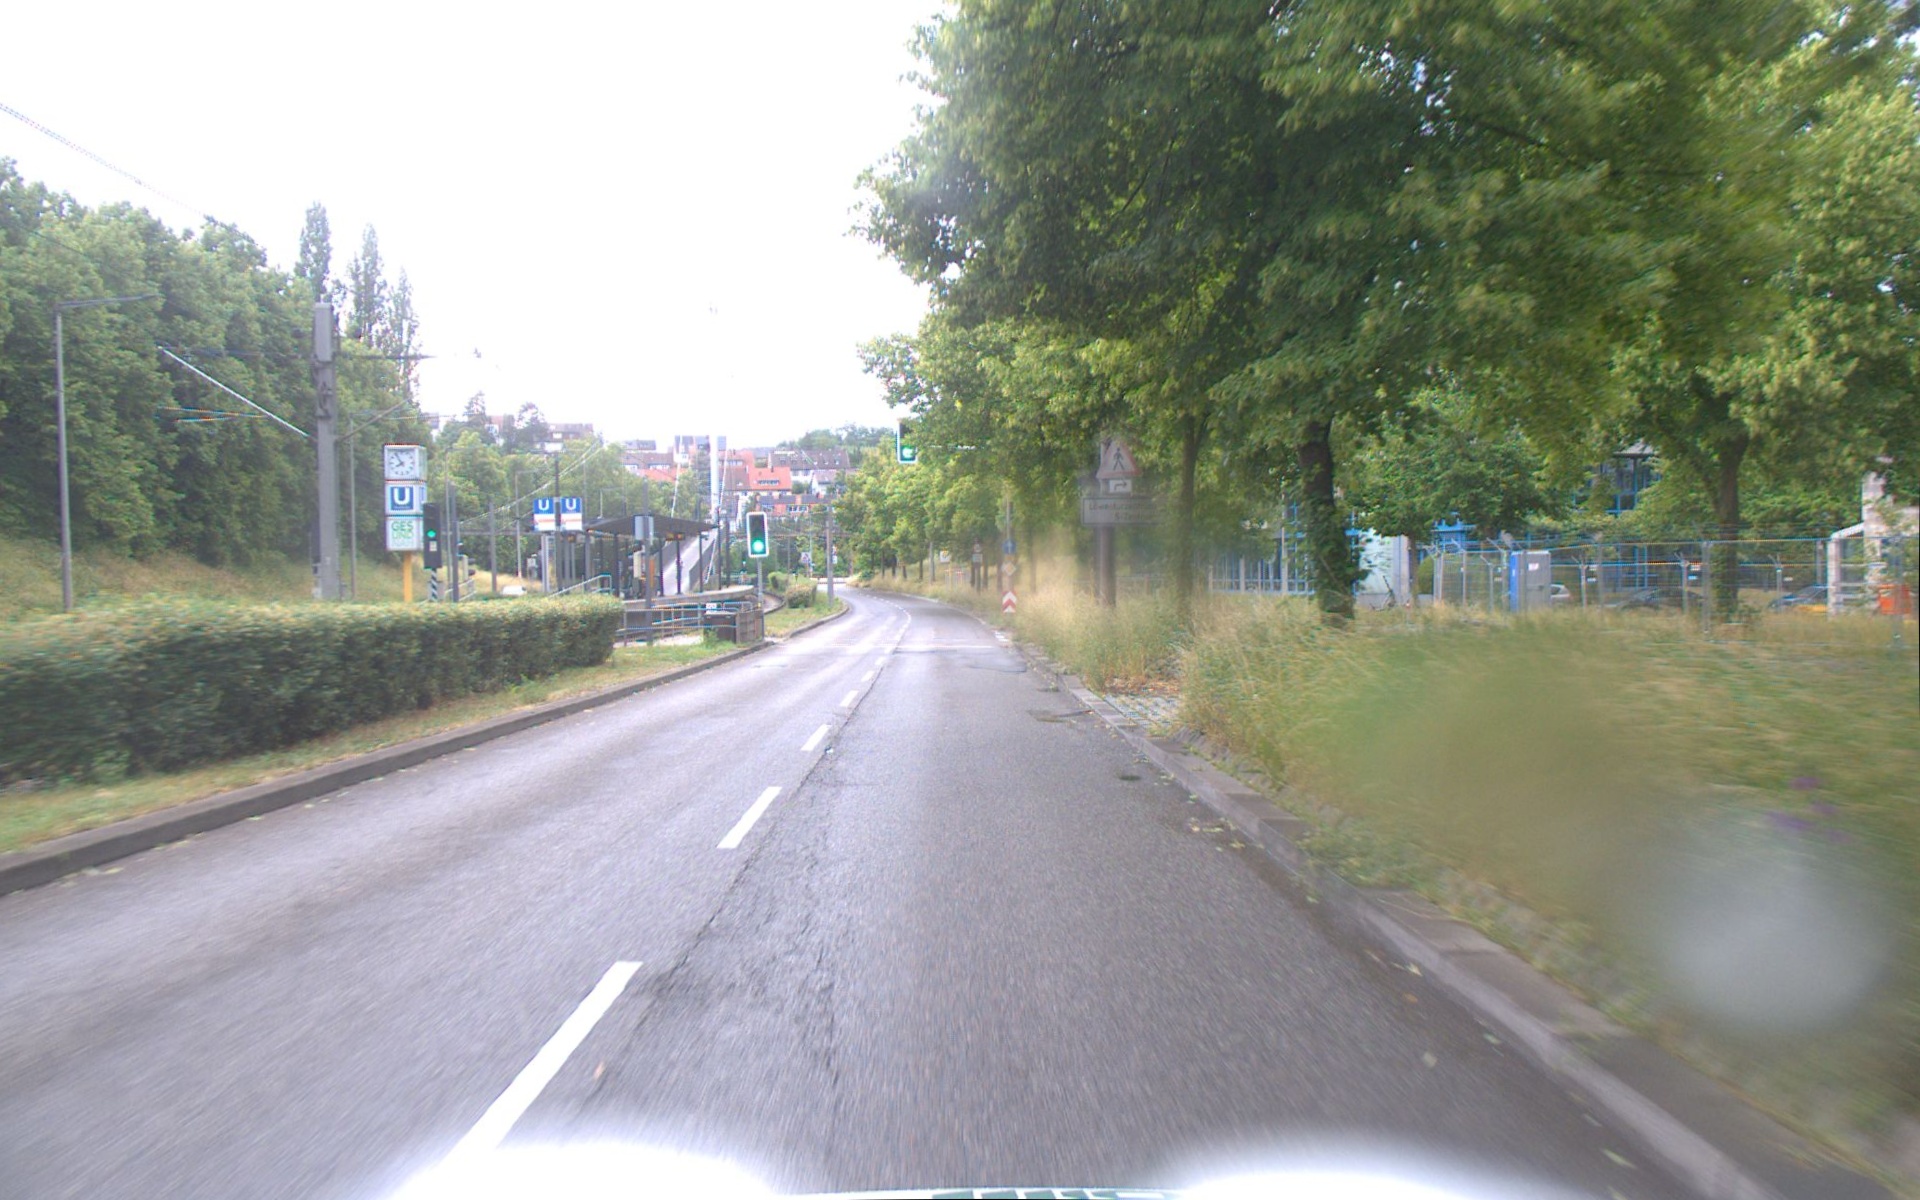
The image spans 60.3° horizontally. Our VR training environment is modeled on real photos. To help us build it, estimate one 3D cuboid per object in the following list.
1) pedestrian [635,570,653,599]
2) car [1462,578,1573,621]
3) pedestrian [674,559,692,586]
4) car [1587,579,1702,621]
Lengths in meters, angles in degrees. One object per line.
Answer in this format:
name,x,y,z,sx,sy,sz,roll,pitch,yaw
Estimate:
pedestrian,-14.808,-0.724,77.425,0.738,1.379,0.691,0,0,-5
car,22.903,-0.030,68.053,4.011,1.670,1.759,-1,3,4
pedestrian,-16.429,-1.627,98.130,0.917,1.639,1.026,0,0,-5
car,28.059,-0.006,67.908,4.011,1.606,1.759,-1,3,4
